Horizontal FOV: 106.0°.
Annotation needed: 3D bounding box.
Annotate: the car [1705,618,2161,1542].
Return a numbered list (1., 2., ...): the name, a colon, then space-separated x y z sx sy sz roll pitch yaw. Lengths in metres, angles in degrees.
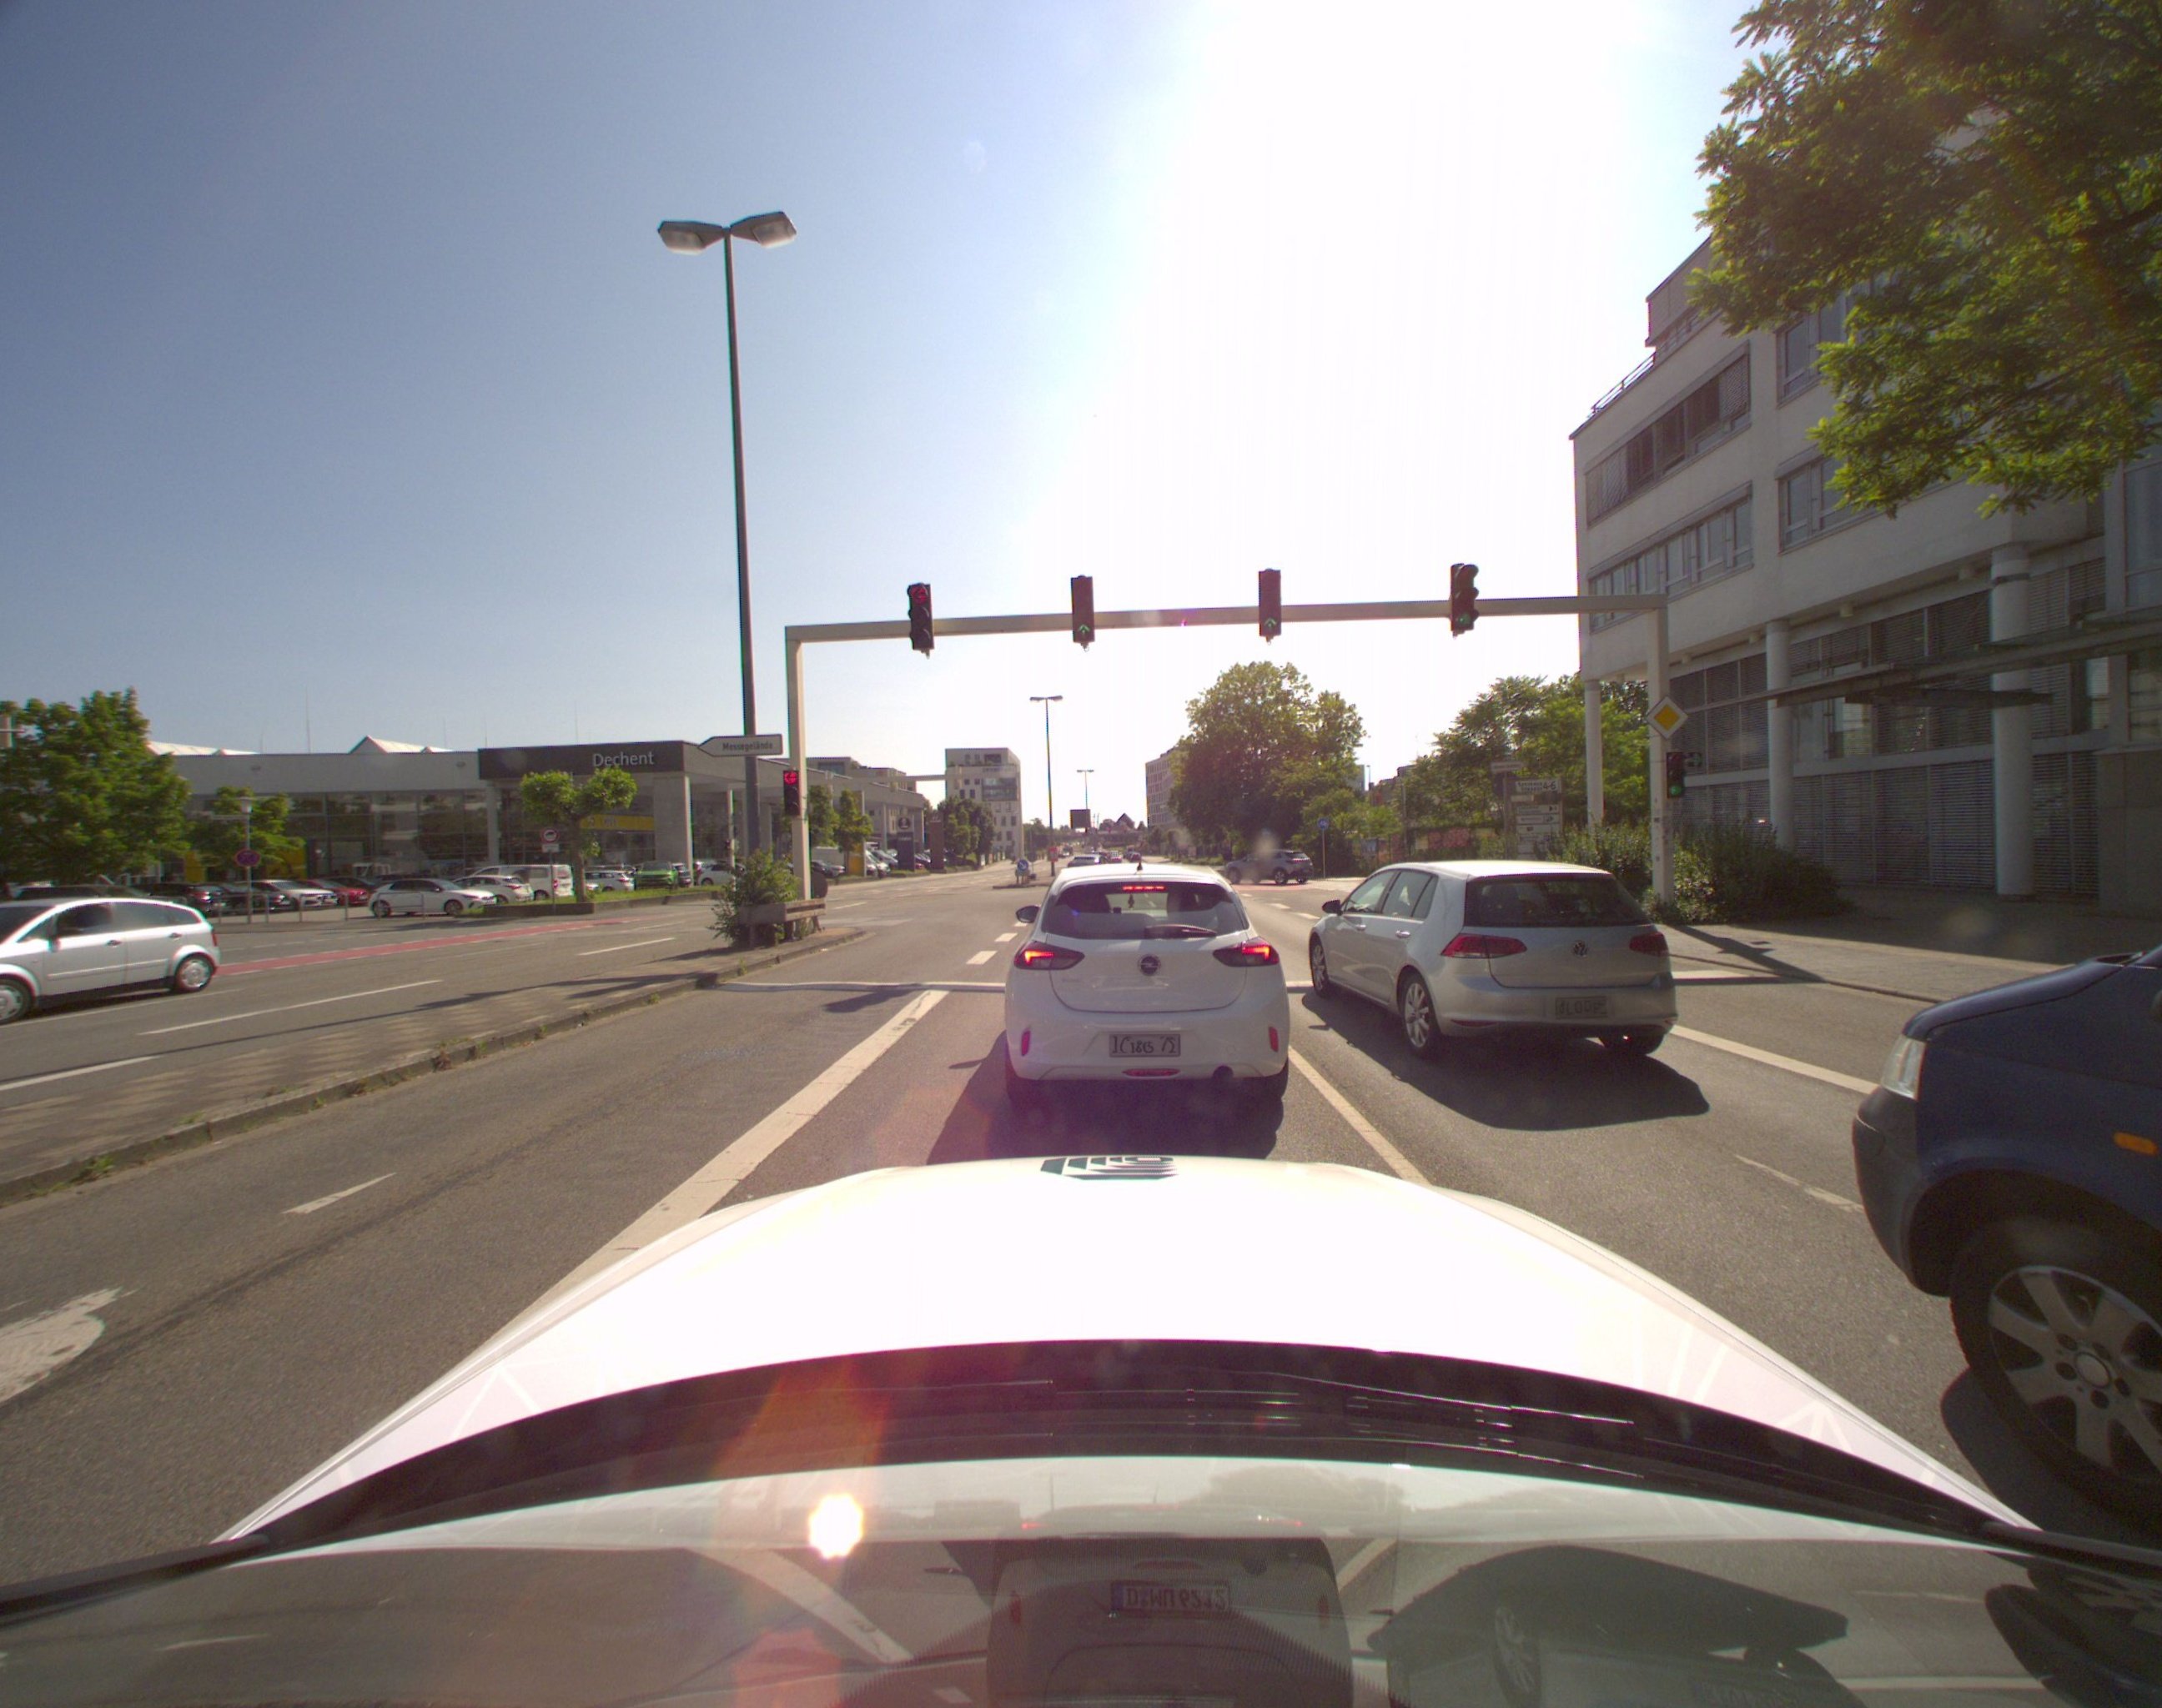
1. car: 3.220 0.444 0.488 1.986 1.948 4.892 -2 -1 2

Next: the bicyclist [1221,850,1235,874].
1. bicyclist: 10.927 0.613 60.591 0.876 1.772 0.864 -2 0 1

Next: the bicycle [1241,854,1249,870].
1. bicycle: 12.048 0.617 59.769 0.372 1.147 1.034 0 -1 0

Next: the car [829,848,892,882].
1. car: -18.478 0.948 68.353 4.469 2.684 2.134 -2 0 10

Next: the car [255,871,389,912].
1. car: -36.623 1.779 39.413 4.352 1.696 1.995 -2 0 -7

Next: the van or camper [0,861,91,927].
1. van or camper: -41.950 1.573 31.338 4.711 2.400 1.995 -2 0 -8

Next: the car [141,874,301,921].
1. car: -36.063 1.797 34.265 4.348 1.696 1.997 -2 0 -4

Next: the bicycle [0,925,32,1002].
1. bicycle: -16.585 1.665 11.422 0.763 1.116 2.167 -2 0 9

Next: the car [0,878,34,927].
1. car: -40.439 1.805 28.390 4.371 1.696 1.987 -2 0 -20

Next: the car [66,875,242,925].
1. car: -36.285 1.772 31.986 4.348 1.696 1.997 -2 0 -4

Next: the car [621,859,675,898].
1. car: -21.257 1.221 39.956 1.915 1.733 3.258 -2 -1 -35

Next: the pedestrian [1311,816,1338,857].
1. pedestrian: 12.386 -0.879 41.493 1.023 2.013 1.039 -2 0 1

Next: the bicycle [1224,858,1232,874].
1. bicycle: 10.943 0.871 60.582 0.371 1.216 1.154 0 0 2

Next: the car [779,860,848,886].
1. car: -19.720 1.395 60.185 4.344 1.696 1.999 -2 0 -1

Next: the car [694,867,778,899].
1. car: -19.813 1.649 46.952 3.981 1.599 1.996 -2 0 -6

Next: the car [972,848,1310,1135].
1. car: 0.377 0.744 6.391 1.773 1.494 4.001 -2 0 1

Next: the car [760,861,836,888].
1. car: -18.987 1.360 54.708 4.343 1.696 1.999 -2 0 -1

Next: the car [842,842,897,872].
1. car: -19.104 0.280 73.688 4.334 2.601 2.004 -2 0 6

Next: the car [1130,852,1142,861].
1. car: 9.094 0.386 135.284 1.799 1.386 4.001 0 -1 2

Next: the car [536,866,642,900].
1. car: -26.227 1.502 43.576 4.352 1.591 1.996 -2 0 -7

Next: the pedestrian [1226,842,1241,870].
1. pedestrian: 12.087 0.162 64.568 1.023 2.238 1.039 -2 0 1

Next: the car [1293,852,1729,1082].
1. car: 3.299 0.747 7.269 1.801 1.429 4.001 -2 -1 1

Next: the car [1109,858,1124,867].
1. car: 5.288 1.237 120.812 1.987 1.331 3.998 0 -1 -1

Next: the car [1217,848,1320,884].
1. car: 8.758 0.557 38.360 2.011 1.551 4.381 -2 0 -41

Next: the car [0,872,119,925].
1. car: -43.166 1.823 33.696 3.984 2.013 1.995 -2 0 -8

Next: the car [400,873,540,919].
1. car: -26.211 1.779 35.059 4.348 1.696 1.997 -2 0 -4

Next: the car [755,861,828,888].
1. car: -20.208 1.396 56.954 4.344 1.696 1.999 -2 0 -1

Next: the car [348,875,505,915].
1. car: -25.501 1.589 31.863 4.348 1.300 1.997 -2 0 -4

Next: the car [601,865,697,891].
1. car: -24.708 1.379 46.679 4.352 1.268 1.995 -3 -2 -7

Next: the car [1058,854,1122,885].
1. car: 0.506 0.717 39.850 1.978 1.447 4.389 -1 0 16

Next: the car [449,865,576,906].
1. car: -26.531 1.444 38.151 4.353 1.696 1.995 -2 0 -7

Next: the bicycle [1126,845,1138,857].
1. bicycle: 9.718 -0.496 155.421 1.986 2.157 4.001 -2 0 1

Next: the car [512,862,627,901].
1. car: -25.440 1.341 40.681 4.353 1.696 1.995 -2 0 -7

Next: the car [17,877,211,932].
1. car: -34.879 1.806 29.494 4.348 1.696 1.997 -2 0 -4

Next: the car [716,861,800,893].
1. car: -19.606 1.365 49.582 4.284 1.765 1.999 -2 0 -1

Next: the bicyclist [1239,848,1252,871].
1. bicyclist: 12.044 0.376 59.732 0.687 1.643 0.775 -2 0 -7

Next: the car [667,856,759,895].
1. car: -19.263 1.098 42.778 3.859 1.837 1.999 -2 0 -1

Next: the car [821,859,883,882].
1. car: -18.511 1.346 65.901 4.334 1.696 2.004 -2 0 6

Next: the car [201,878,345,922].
1. car: -36.625 2.061 37.014 4.348 1.696 1.997 -2 0 -4

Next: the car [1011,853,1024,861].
1. car: -11.123 0.592 142.629 1.799 1.386 4.001 0 -1 2

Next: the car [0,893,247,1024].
1. car: -14.047 1.364 11.016 1.771 1.438 3.905 -2 0 -8
